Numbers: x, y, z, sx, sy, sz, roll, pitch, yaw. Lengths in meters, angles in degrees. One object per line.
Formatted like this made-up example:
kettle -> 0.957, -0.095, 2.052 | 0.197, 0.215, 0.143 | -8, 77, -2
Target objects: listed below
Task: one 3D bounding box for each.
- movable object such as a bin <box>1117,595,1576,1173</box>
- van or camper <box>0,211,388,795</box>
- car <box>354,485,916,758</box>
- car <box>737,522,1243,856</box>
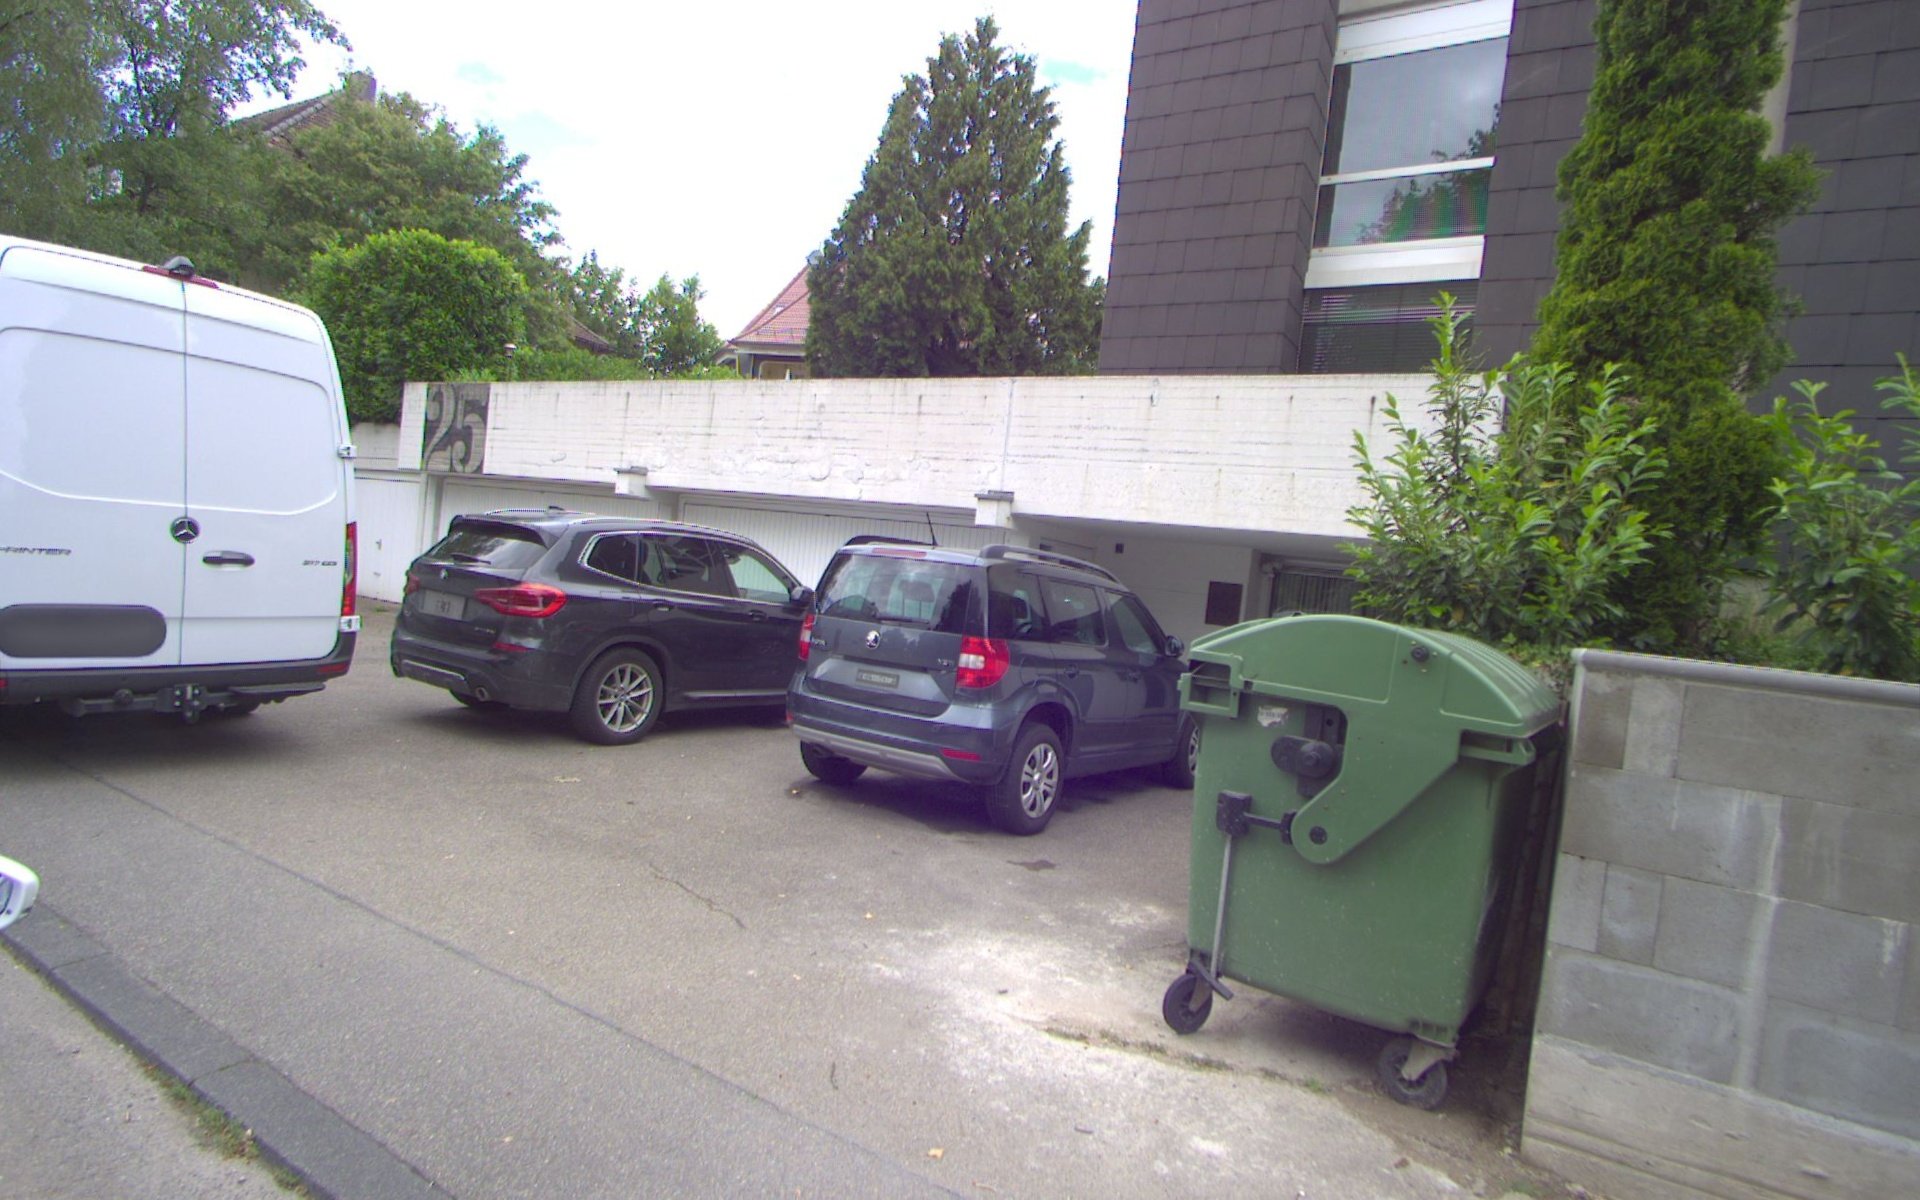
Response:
movable object such as a bin -> 1.411, 0.788, 3.558 | 1.161, 1.470, 1.300 | 7, 2, 31
van or camper -> -6.678, -0.716, 6.845 | 6.252, 2.664, 1.963 | 7, 4, 31
car -> -2.448, 0.175, 8.715 | 1.800, 1.674, 4.395 | 7, 2, 33
car -> 0.475, 0.523, 7.385 | 1.801, 1.674, 3.796 | 7, 2, 35
